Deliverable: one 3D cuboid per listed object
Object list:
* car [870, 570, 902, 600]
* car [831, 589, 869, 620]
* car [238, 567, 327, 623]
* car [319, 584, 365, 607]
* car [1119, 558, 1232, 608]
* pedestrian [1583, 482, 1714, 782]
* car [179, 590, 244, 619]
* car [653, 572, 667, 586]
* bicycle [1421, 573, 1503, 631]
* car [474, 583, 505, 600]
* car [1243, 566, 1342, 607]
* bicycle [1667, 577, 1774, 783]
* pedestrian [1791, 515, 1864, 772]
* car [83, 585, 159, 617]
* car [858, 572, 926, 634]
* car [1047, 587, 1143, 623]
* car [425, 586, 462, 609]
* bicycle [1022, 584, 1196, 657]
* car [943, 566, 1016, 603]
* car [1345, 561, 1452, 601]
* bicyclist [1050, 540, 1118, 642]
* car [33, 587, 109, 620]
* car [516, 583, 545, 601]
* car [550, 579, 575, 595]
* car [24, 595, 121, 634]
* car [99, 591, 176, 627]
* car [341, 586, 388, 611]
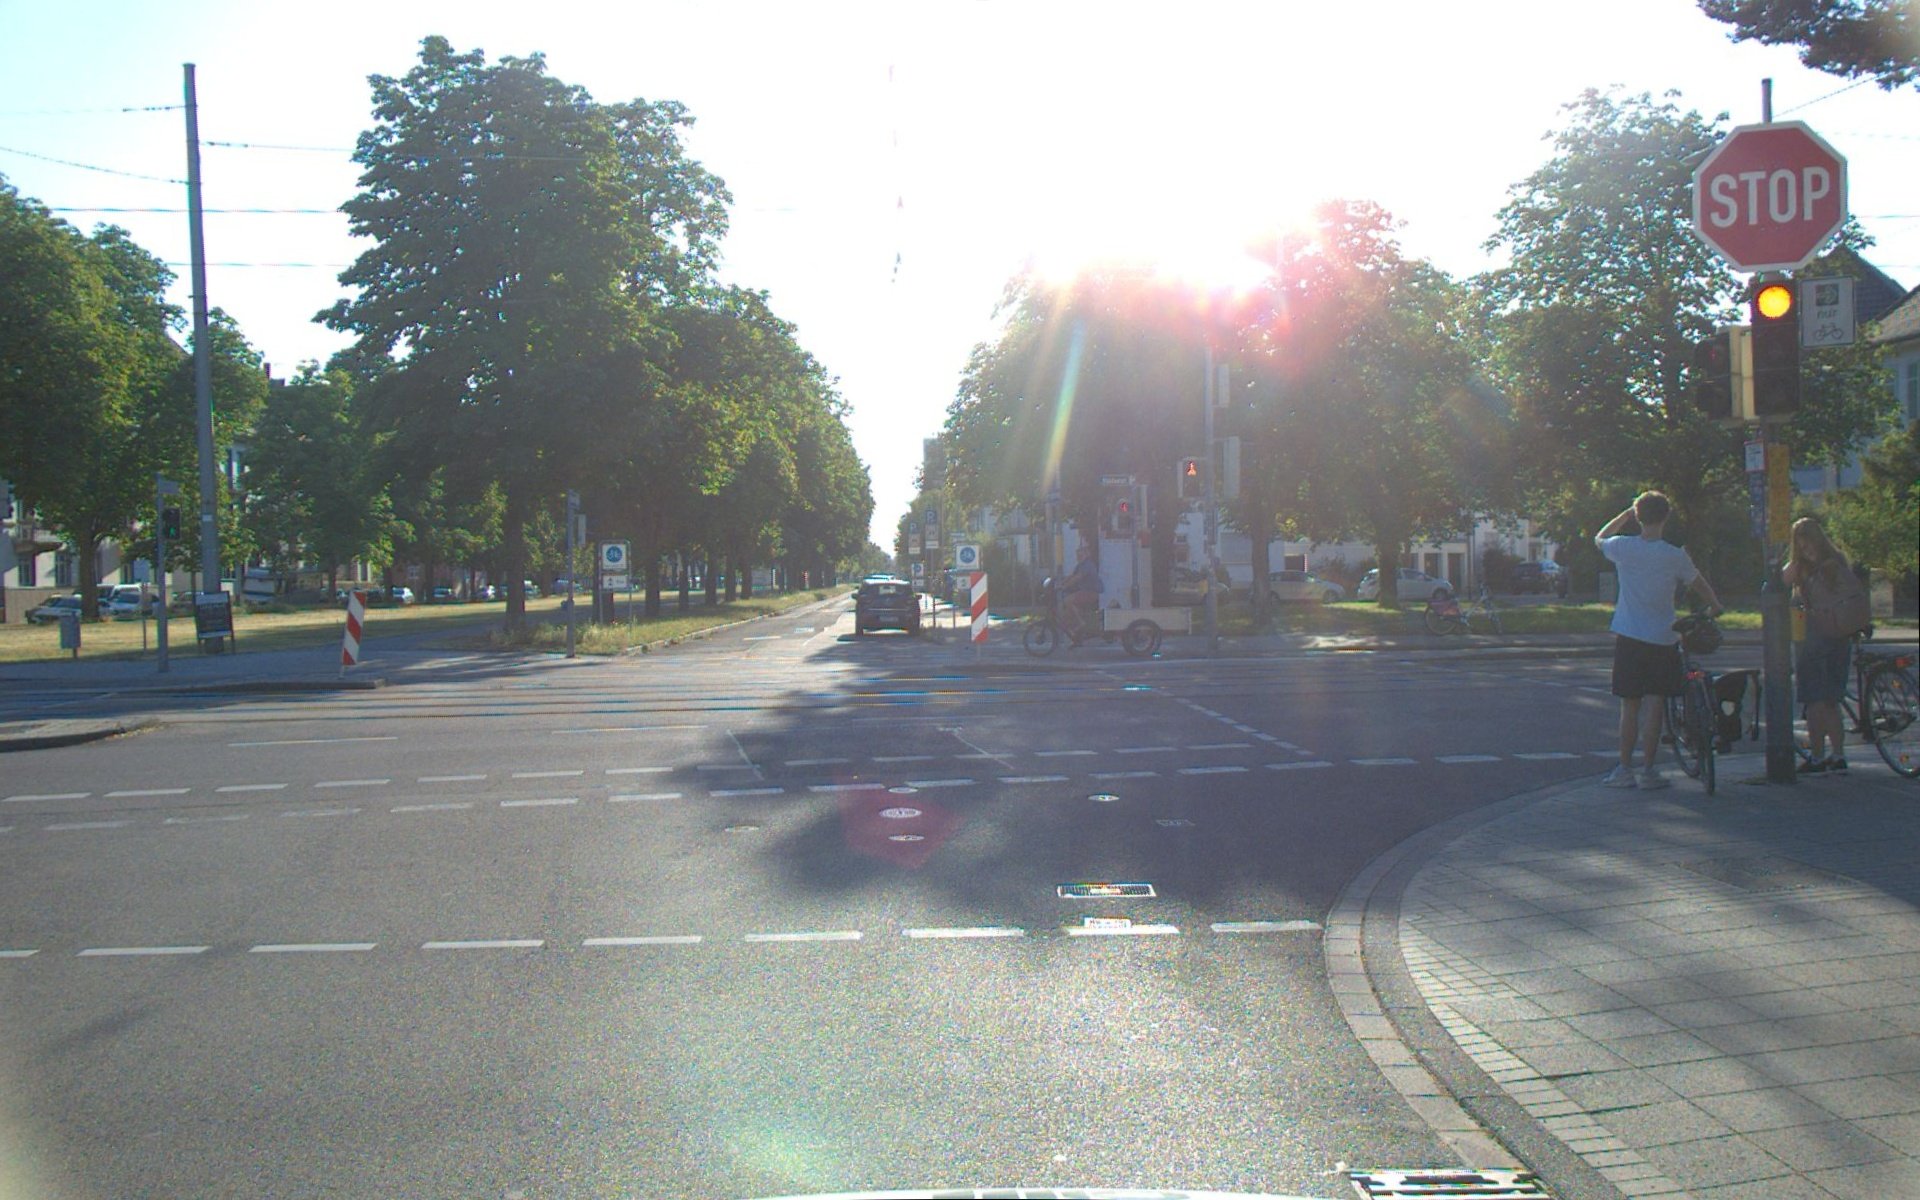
[{"bbox_3d":[-4.657,-0.958,103.675,1.954,1.812,3.998,1,1,-3],"label":"car"},{"bbox_3d":[-5.162,0.203,78.158,1.675,1.383,4.201,1,0,-2],"label":"car"},{"bbox_3d":[-41.076,-0.340,100.509,2.344,3.185,7.850,1,1,-2],"label":"car"},{"bbox_3d":[-47.055,-0.332,126.010,1.953,1.688,4.373,1,0,-1],"label":"car"},{"bbox_3d":[8.537,-0.675,65.657,4.157,1.908,2.029,-1,0,-3],"label":"car"},{"bbox_3d":[4.585,0.207,11.054,0.614,1.899,0.775,-4,0,18],"label":"pedestrian"},{"bbox_3d":[-46.127,0.286,102.020,1.953,1.688,4.569,1,0,-1],"label":"car"},{"bbox_3d":[-45.954,-3.226,253.320,1.621,1.972,3.565,1,-1,-3],"label":"car"},{"bbox_3d":[9.998,0.037,32.957,1.489,1.108,0.468,-1,3,7],"label":"bicycle"},{"bbox_3d":[-48.894,-0.894,171.955,1.953,1.688,4.354,1,0,-1],"label":"car"},{"bbox_3d":[13.173,-0.550,65.577,3.487,1.542,1.602,-1,0,-8],"label":"car"},{"bbox_3d":[4.898,0.456,10.714,0.561,1.204,1.905,1,1,23],"label":"bicycle"},{"bbox_3d":[5.576,0.271,10.643,0.342,1.613,0.462,1,-1,20],"label":"pedestrian"},{"bbox_3d":[-46.862,0.057,92.510,1.953,1.688,4.569,1,0,-1],"label":"car"},{"bbox_3d":[-1.796,0.088,44.602,1.690,1.537,4.539,1,0,-1],"label":"car"},{"bbox_3d":[5.751,0.200,70.687,3.907,1.472,1.715,-1,0,-3],"label":"car"},{"bbox_3d":[-42.498,-0.179,136.164,1.775,1.812,4.121,1,0,-2],"label":"car"},{"bbox_3d":[2.662,0.366,29.446,3.008,1.182,0.875,-2,0,7],"label":"bicycle"},{"bbox_3d":[1.102,-0.871,93.644,3.911,1.854,1.757,-2,-5,-7],"label":"car"},{"bbox_3d":[17.541,-0.760,66.210,3.847,1.550,1.521,0,-1,-8],"label":"car"},{"bbox_3d":[2.226,-0.154,29.502,1.120,1.753,0.875,-2,0,7],"label":"bicyclist"},{"bbox_3d":[-45.985,0.174,85.632,1.681,1.661,4.190,1,0,-1],"label":"car"},{"bbox_3d":[-43.329,-0.791,166.893,1.982,1.688,3.982,1,0,-2],"label":"car"},{"bbox_3d":[-44.802,-1.468,186.417,1.954,1.688,4.568,-1,1,-3],"label":"car"},{"bbox_3d":[-40.205,0.662,75.028,1.953,1.688,4.569,1,0,-1],"label":"car"},{"bbox_3d":[-40.244,0.418,81.023,1.760,1.581,4.416,1,1,-4],"label":"car"},{"bbox_3d":[-41.749,-0.105,115.997,1.841,1.703,4.313,1,0,-2],"label":"car"}]
